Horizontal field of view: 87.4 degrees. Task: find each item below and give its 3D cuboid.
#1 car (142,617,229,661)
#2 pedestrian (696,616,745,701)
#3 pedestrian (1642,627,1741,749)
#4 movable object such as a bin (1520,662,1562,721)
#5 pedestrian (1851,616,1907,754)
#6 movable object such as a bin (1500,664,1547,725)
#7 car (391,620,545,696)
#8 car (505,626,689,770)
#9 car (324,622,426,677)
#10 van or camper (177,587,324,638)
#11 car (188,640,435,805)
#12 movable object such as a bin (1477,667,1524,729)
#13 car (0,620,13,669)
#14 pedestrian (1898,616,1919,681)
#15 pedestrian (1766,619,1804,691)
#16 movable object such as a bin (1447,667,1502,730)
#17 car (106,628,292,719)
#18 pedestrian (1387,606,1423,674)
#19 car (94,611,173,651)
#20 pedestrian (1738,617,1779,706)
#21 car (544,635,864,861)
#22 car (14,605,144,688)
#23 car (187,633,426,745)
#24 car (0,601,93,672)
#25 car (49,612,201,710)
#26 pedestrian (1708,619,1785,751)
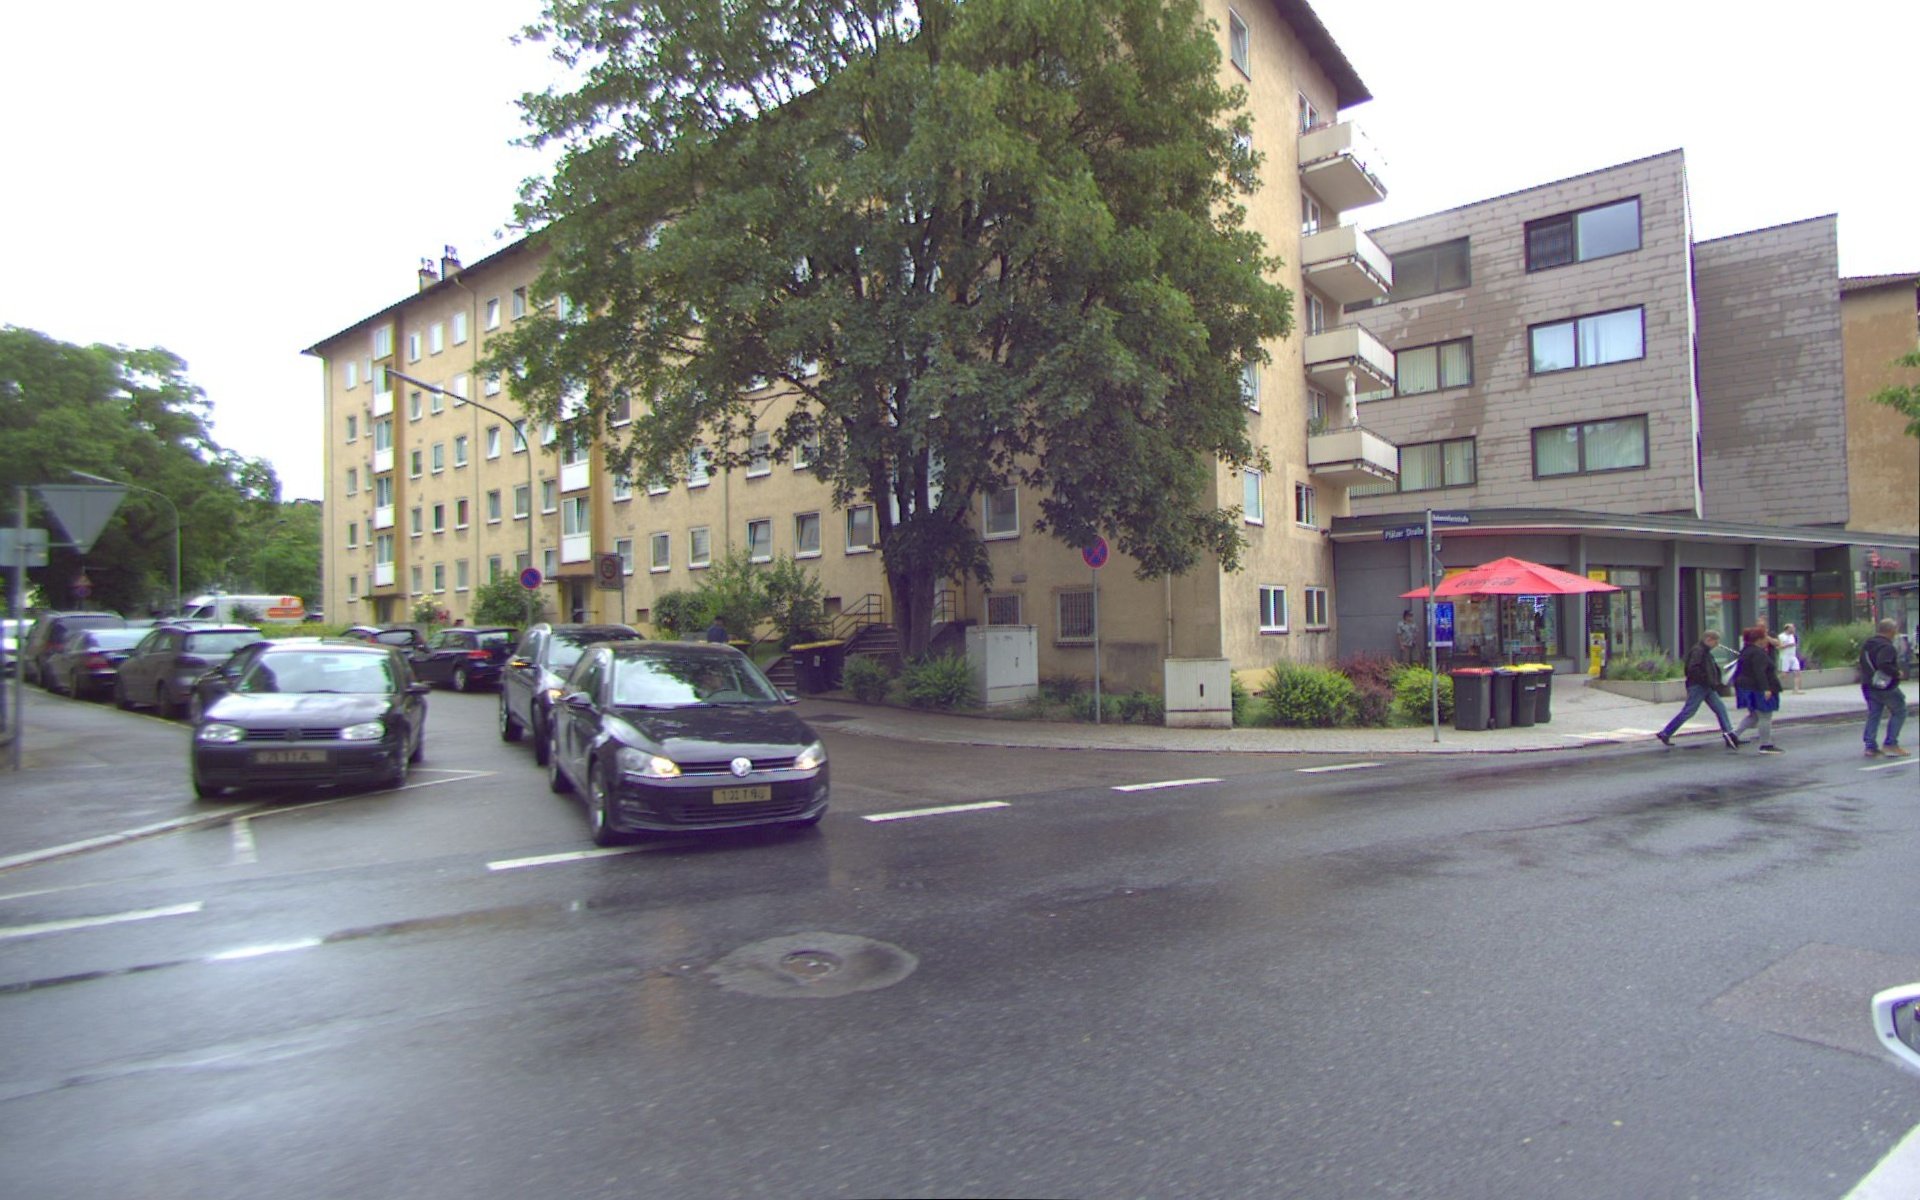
[{"bbox_3d":[-30.602,1.511,39.676,3.551,1.528,1.797,2,0,37],"label":"car"},{"bbox_3d":[-5.038,1.217,21.133,0.618,1.705,0.814,2,2,41],"label":"pedestrian"},{"bbox_3d":[10.971,1.280,15.075,0.708,1.754,1.054,1,-1,-39],"label":"pedestrian"},{"bbox_3d":[10.897,1.714,18.861,0.530,1.085,0.472,0,-3,7],"label":"movable object such as a bin"},{"bbox_3d":[11.845,1.079,12.960,0.459,1.731,0.542,-2,-3,40],"label":"pedestrian"},{"bbox_3d":[10.305,1.722,18.375,0.599,1.095,0.488,3,-4,-29],"label":"movable object such as a bin"},{"bbox_3d":[-11.956,1.344,24.394,3.545,1.528,1.685,2,2,30],"label":"car"},{"bbox_3d":[-4.920,1.191,13.296,1.673,1.602,3.793,3,-3,-29],"label":"car"},{"bbox_3d":[-16.202,1.335,27.764,3.315,1.238,1.488,3,2,41],"label":"car"},{"bbox_3d":[-39.902,0.736,56.719,2.249,2.668,6.347,2,0,30],"label":"van or camper"},{"bbox_3d":[-6.657,1.157,10.716,1.720,1.408,3.804,3,-3,-26],"label":"car"},{"bbox_3d":[9.741,1.757,18.106,0.599,1.095,0.488,3,-4,-29],"label":"movable object such as a bin"},{"bbox_3d":[-33.722,1.448,34.063,3.552,1.528,1.797,2,0,38],"label":"car"},{"bbox_3d":[25.982,1.311,27.330,0.462,1.732,0.539,2,0,-35],"label":"pedestrian"},{"bbox_3d":[20.294,1.341,24.713,0.649,1.728,0.659,2,0,38],"label":"pedestrian"},{"bbox_3d":[9.120,1.734,17.803,0.722,1.095,0.551,3,-4,-29],"label":"movable object such as a bin"},{"bbox_3d":[-13.918,1.269,18.321,3.776,1.459,1.705,-1,-2,37],"label":"car"},{"bbox_3d":[12.224,1.090,27.616,0.626,1.840,0.635,0,-2,-20],"label":"pedestrian"},{"bbox_3d":[-36.148,1.342,43.912,3.550,1.528,1.797,2,0,36],"label":"car"},{"bbox_3d":[16.764,1.288,21.085,0.462,1.813,0.538,2,0,-38],"label":"pedestrian"},{"bbox_3d":[-2.411,1.068,8.703,1.722,1.408,3.799,3,-2,-29],"label":"car"},{"bbox_3d":[-21.840,1.101,24.855,3.940,1.751,1.840,2,0,41],"label":"car"},{"bbox_3d":[-10.075,1.262,15.384,4.165,1.439,1.705,-1,-2,37],"label":"car"},{"bbox_3d":[-26.002,0.979,28.253,3.940,1.751,1.840,2,0,41],"label":"car"},{"bbox_3d":[-17.882,1.234,21.455,3.940,1.751,1.840,2,0,41],"label":"car"},{"bbox_3d":[10.766,1.149,13.749,0.731,1.731,0.677,-4,-4,40],"label":"pedestrian"}]
